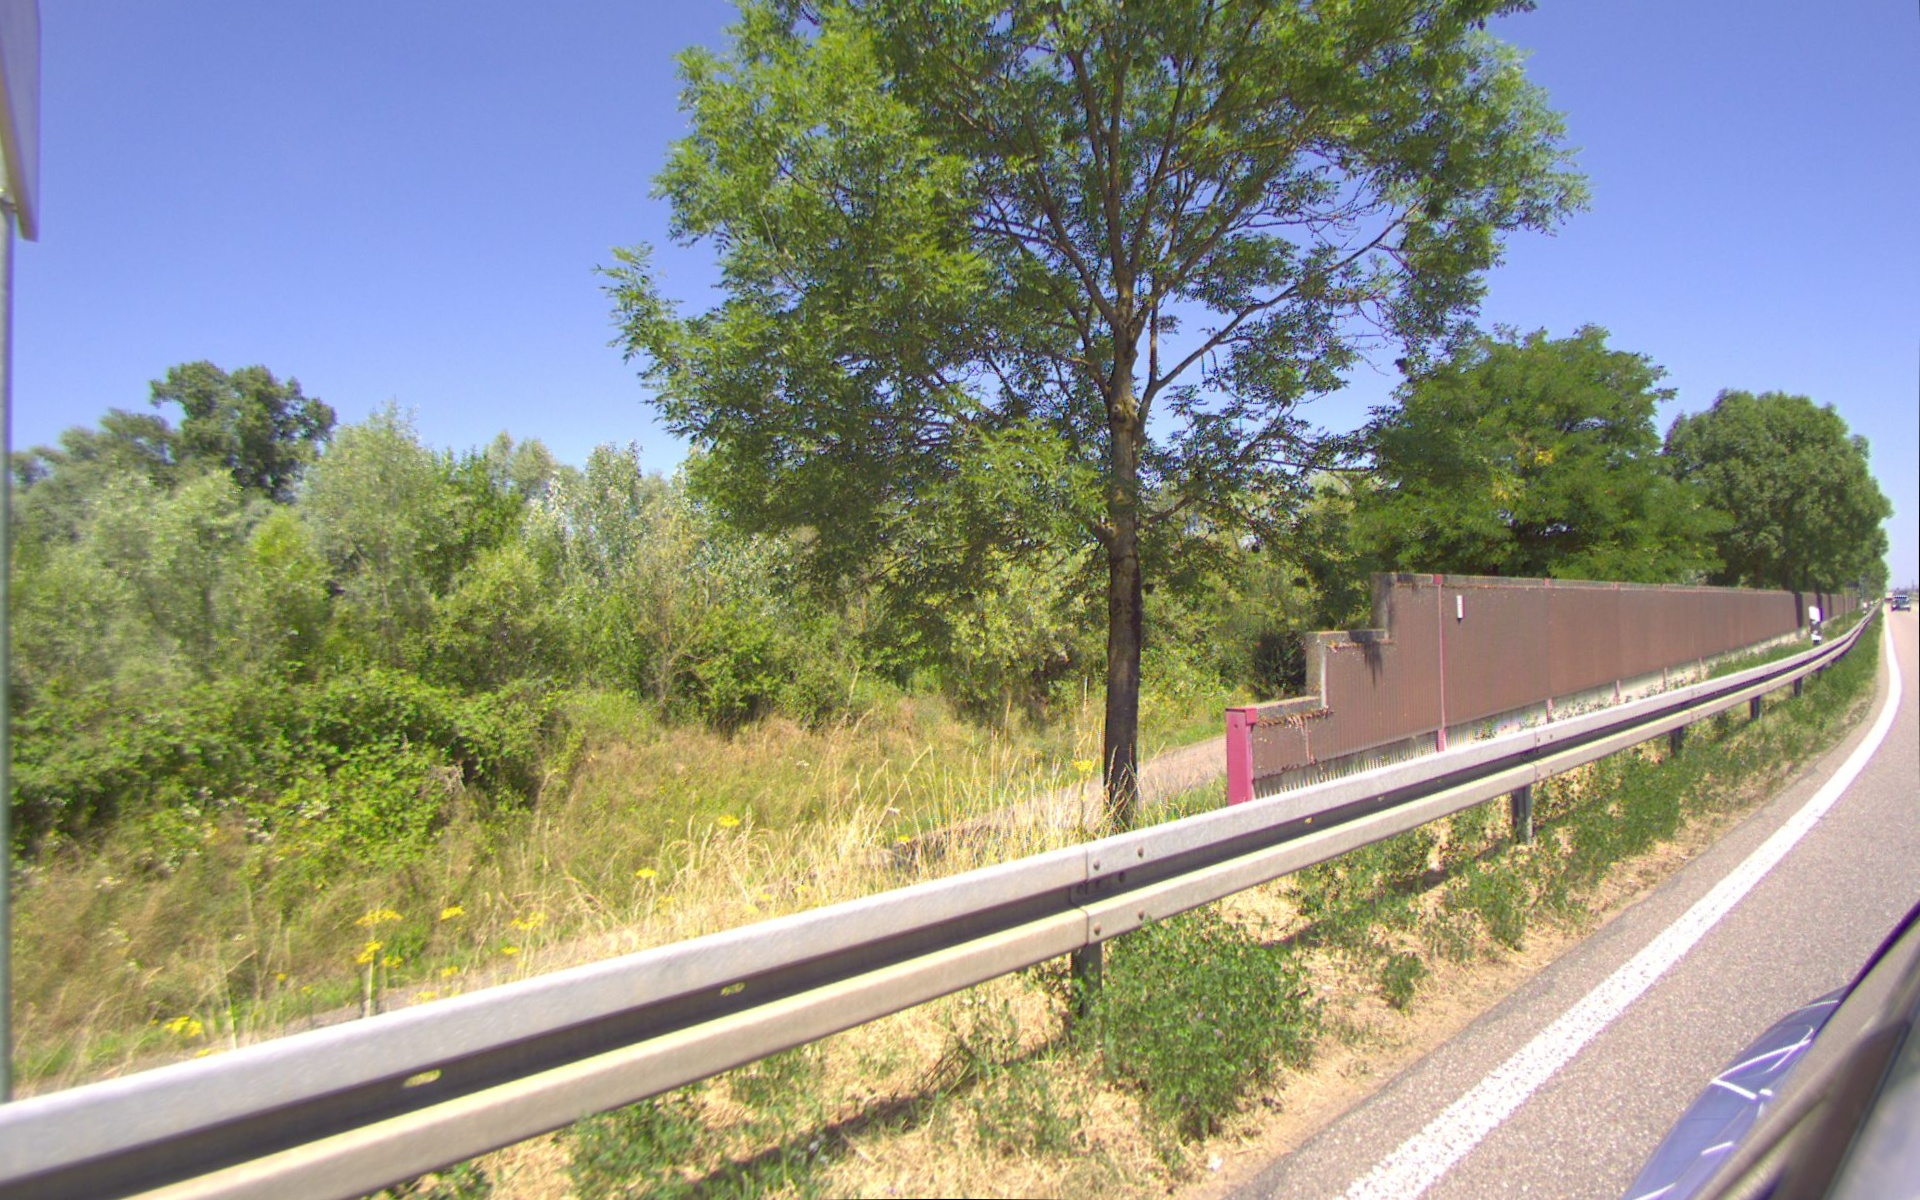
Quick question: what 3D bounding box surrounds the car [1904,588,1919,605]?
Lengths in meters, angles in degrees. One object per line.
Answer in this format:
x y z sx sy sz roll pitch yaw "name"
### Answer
119.371 -0.447 126.340 3.934 2.039 1.995 0 0 -44 "car"
